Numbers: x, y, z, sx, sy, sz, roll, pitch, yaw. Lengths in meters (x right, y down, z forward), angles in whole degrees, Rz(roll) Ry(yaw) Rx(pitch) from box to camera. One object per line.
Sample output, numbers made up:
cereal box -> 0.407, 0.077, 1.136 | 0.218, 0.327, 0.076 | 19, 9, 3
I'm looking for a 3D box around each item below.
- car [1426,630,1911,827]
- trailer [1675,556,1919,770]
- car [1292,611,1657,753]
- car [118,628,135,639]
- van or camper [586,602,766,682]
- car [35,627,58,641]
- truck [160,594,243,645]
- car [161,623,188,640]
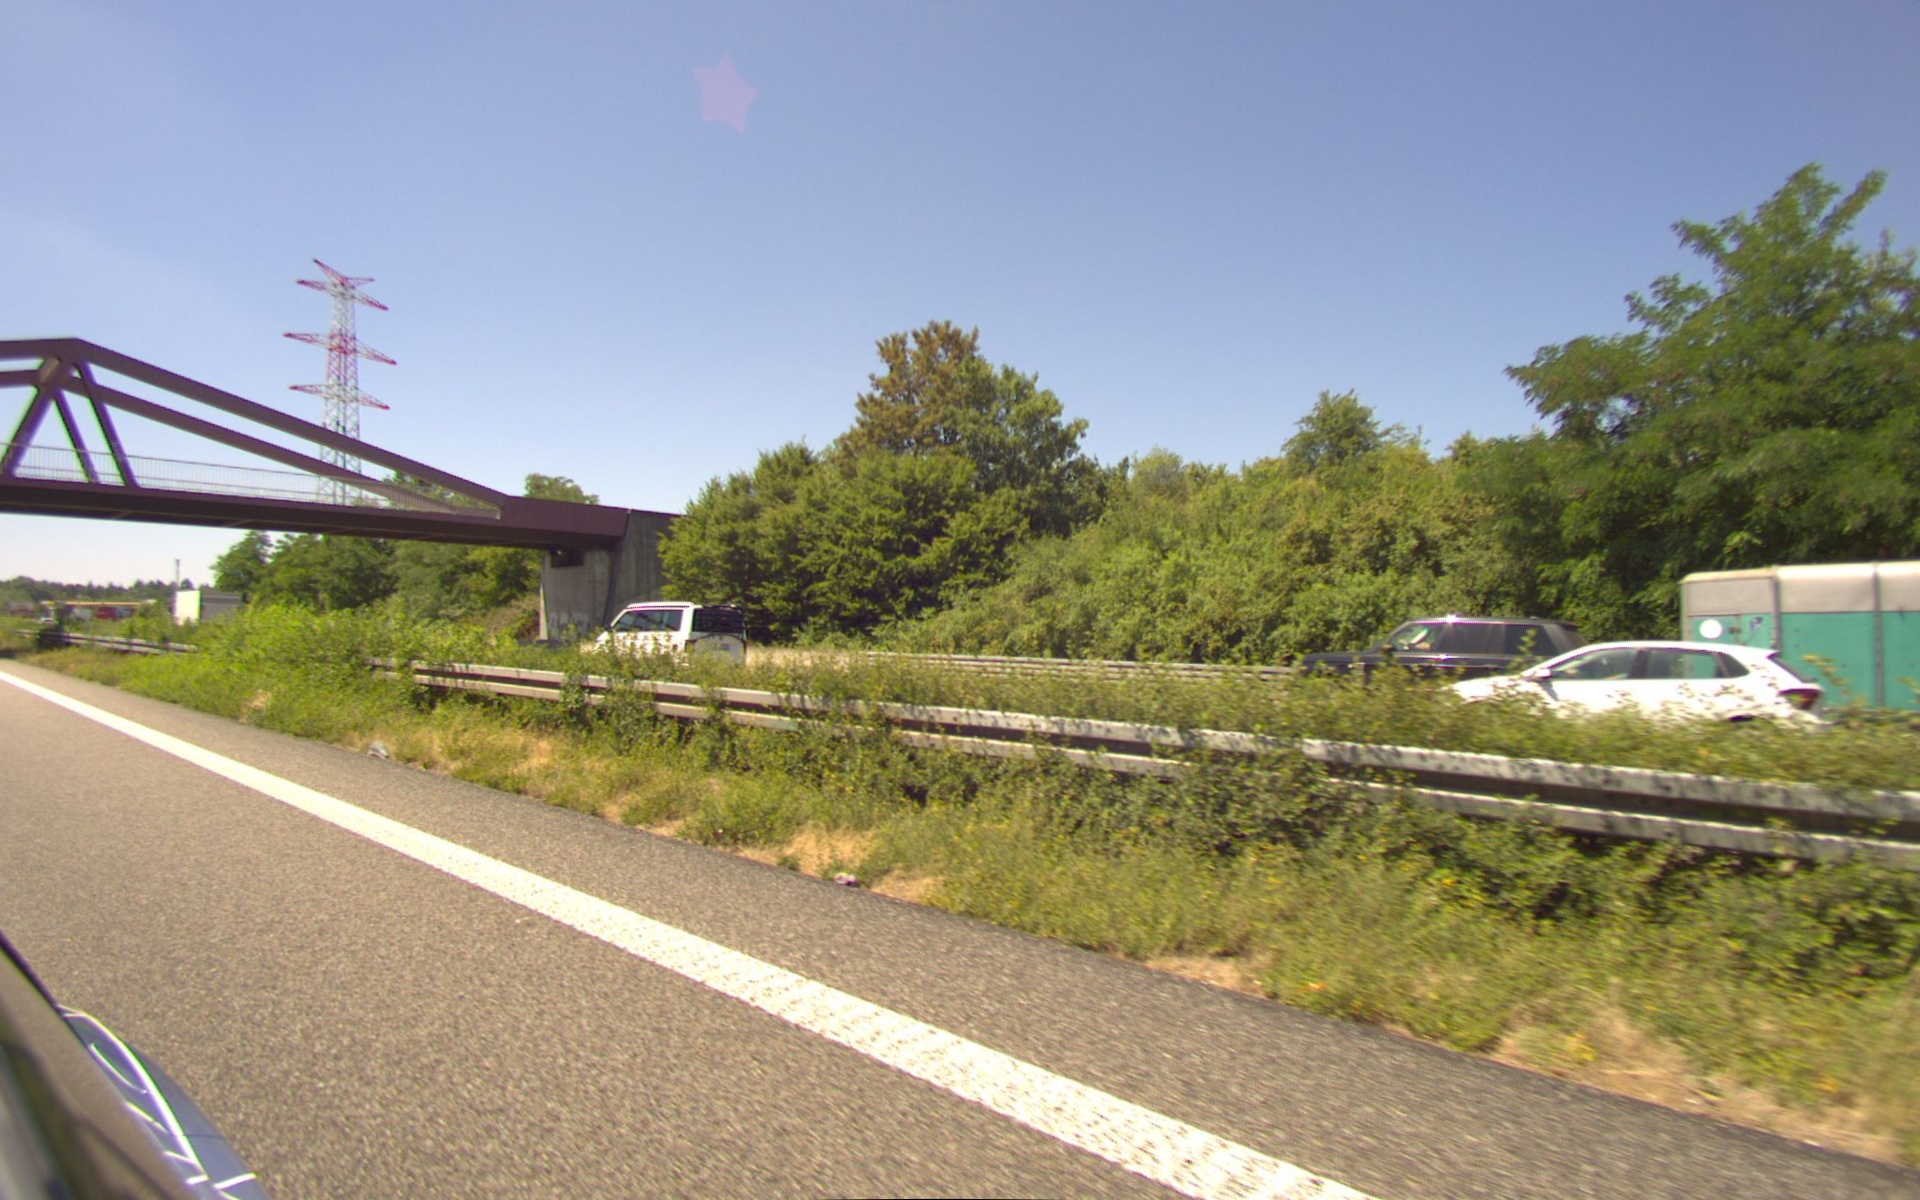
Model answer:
car -> 7.981, 1.278, 11.705 | 4.360, 1.779, 1.762 | -1, 0, 43
trailer -> 12.270, 0.767, 13.349 | 4.408, 2.638, 1.780 | -1, 0, 43
car -> 8.315, 1.205, 16.711 | 5.022, 1.939, 1.923 | -1, 0, 44
car -> -124.083, 4.965, 150.611 | 3.362, 1.625, 1.359 | -1, 0, 41
van or camper -> -7.198, 0.988, 25.309 | 5.213, 1.779, 1.944 | -1, 0, 44
car -> -121.658, 4.495, 134.786 | 4.255, 1.851, 1.784 | -1, 0, 41
truck -> -56.614, 1.527, 75.433 | 10.183, 3.564, 2.779 | -1, -3, 41
car -> -87.828, 3.515, 113.119 | 4.403, 1.781, 1.682 | -1, 0, 43
